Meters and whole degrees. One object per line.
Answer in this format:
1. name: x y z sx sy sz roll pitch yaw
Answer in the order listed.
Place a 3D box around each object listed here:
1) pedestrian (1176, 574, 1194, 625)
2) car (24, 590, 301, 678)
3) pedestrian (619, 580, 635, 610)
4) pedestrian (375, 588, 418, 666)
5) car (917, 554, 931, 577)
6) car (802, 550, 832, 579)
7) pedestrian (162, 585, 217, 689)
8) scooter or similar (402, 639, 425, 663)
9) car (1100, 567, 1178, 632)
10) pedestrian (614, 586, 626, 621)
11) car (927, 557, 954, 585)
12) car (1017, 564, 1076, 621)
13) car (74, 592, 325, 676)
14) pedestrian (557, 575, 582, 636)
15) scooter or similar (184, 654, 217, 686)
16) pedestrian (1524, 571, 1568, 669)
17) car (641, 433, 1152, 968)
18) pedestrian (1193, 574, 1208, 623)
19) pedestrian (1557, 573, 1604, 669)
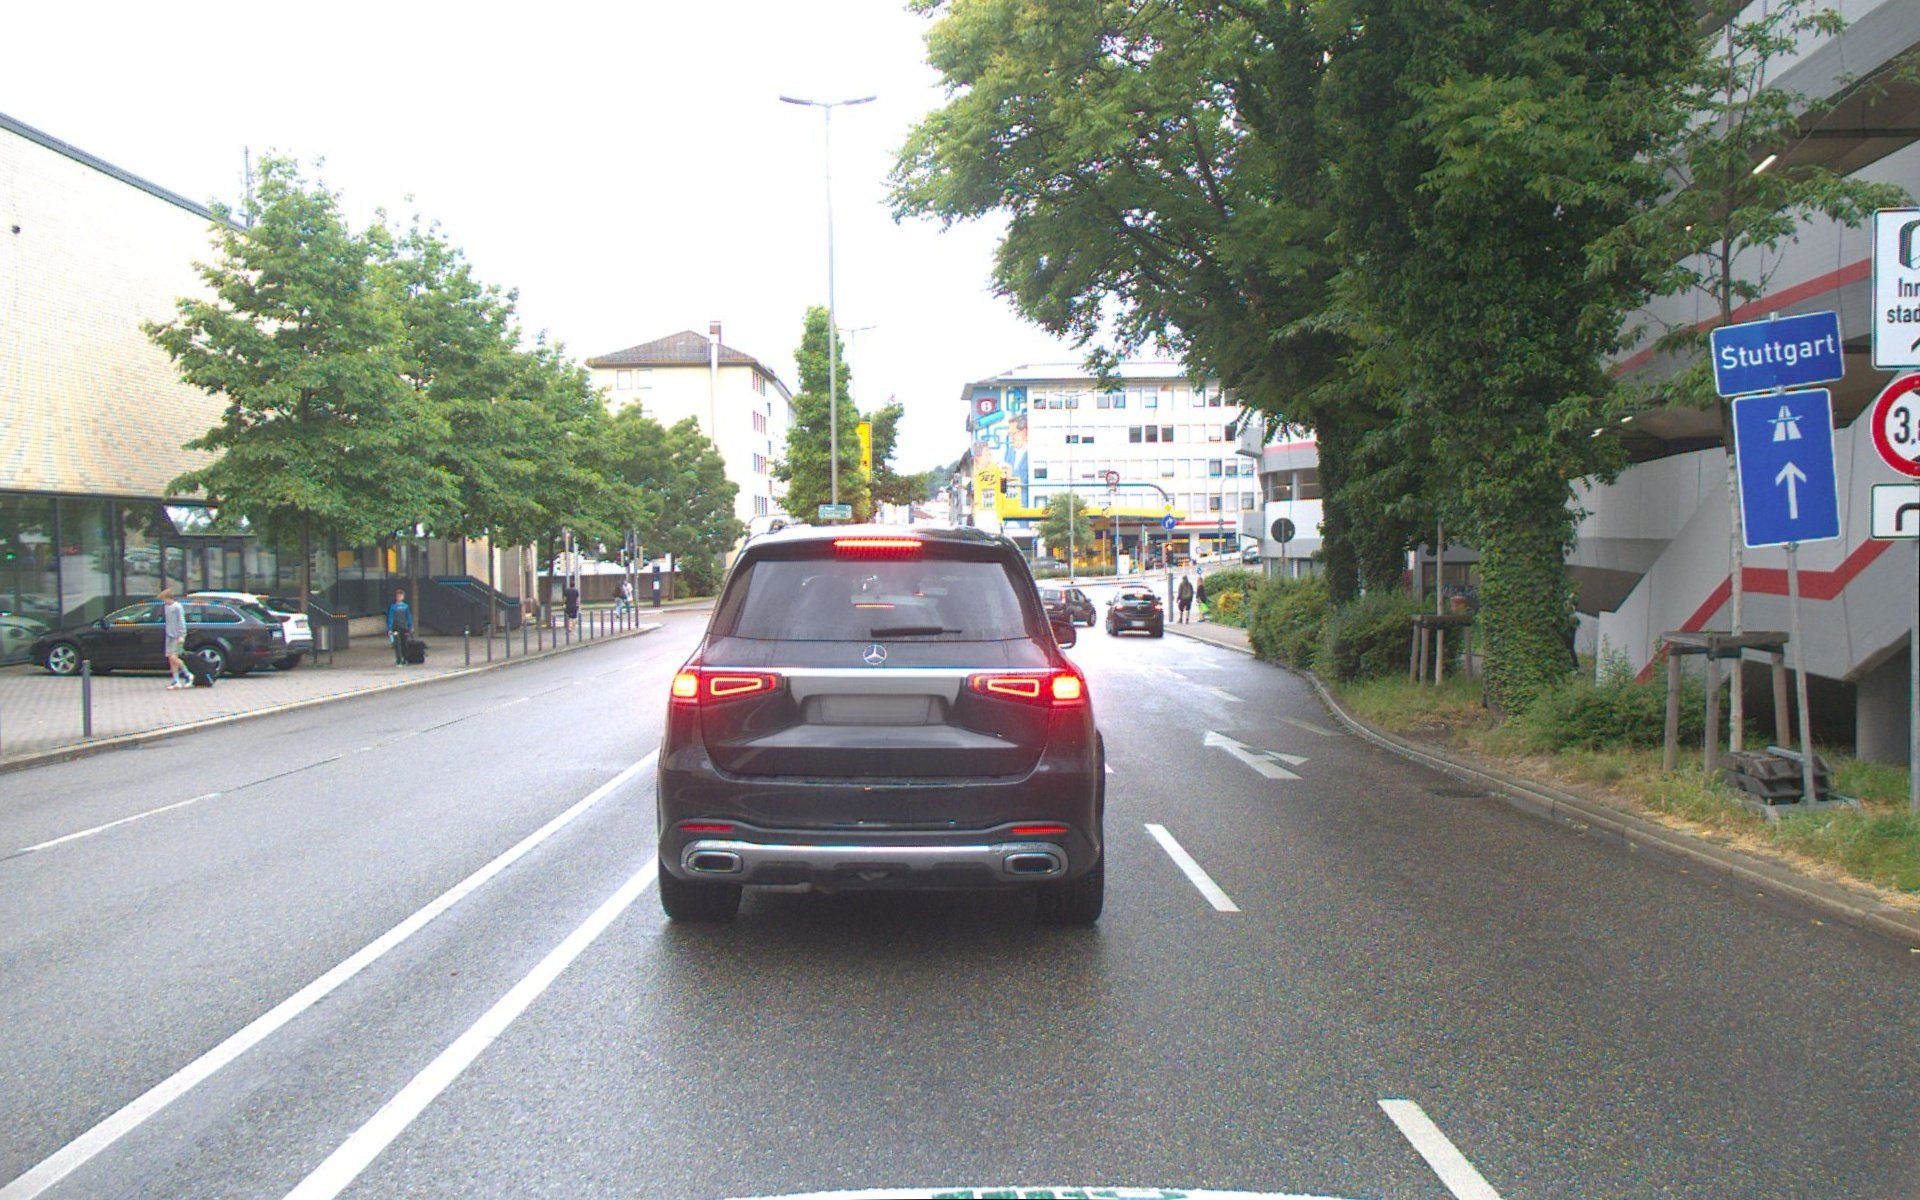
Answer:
1. pedestrian: 8.760 -0.027 64.476 0.607 1.969 0.610 1 -1 1
2. car: -15.266 0.624 31.885 4.383 1.615 1.997 0 0 -8
3. pedestrian: -16.869 -0.242 83.771 0.697 1.487 0.598 1 -1 -2
4. pedestrian: -12.905 0.628 37.892 0.675 1.756 0.753 1 -3 -2
5. car: -5.487 -5.310 251.598 1.953 2.036 4.023 1 24 -2
6. car: -10.469 -2.588 121.202 1.954 1.908 5.139 1 0 -3
7. pedestrian: -13.069 0.622 28.067 0.662 1.727 0.479 1 -1 -1
8. scooter or similar: -12.799 1.201 38.737 0.352 0.545 0.499 1 -2 -2
9. car: 5.870 -0.044 54.708 1.954 2.049 3.998 0 1 -3
10. pedestrian: -16.158 0.178 78.606 0.391 1.673 0.567 1 -1 -1
11. car: -1.539 -2.253 129.210 1.954 2.049 3.997 1 0 -4
12. car: 3.250 -0.262 62.630 1.953 2.049 3.999 1 0 -1
13. car: -15.825 0.698 34.604 4.331 1.601 1.998 1 2 -6
14. pedestrian: -13.365 0.186 56.676 0.576 2.048 0.749 4 1 -3
15. scooter or similar: -13.076 1.204 28.482 0.274 0.509 0.616 1 -1 0
16. pedestrian: 9.394 0.319 26.517 0.539 1.559 0.488 1 -1 5
17. car: -0.311 0.409 8.445 1.953 2.049 3.998 1 0 -2
18. pedestrian: 9.538 -0.065 65.628 0.509 1.944 0.556 1 -1 -1
19. pedestrian: 9.962 0.336 26.547 0.569 1.528 0.504 1 -1 4
